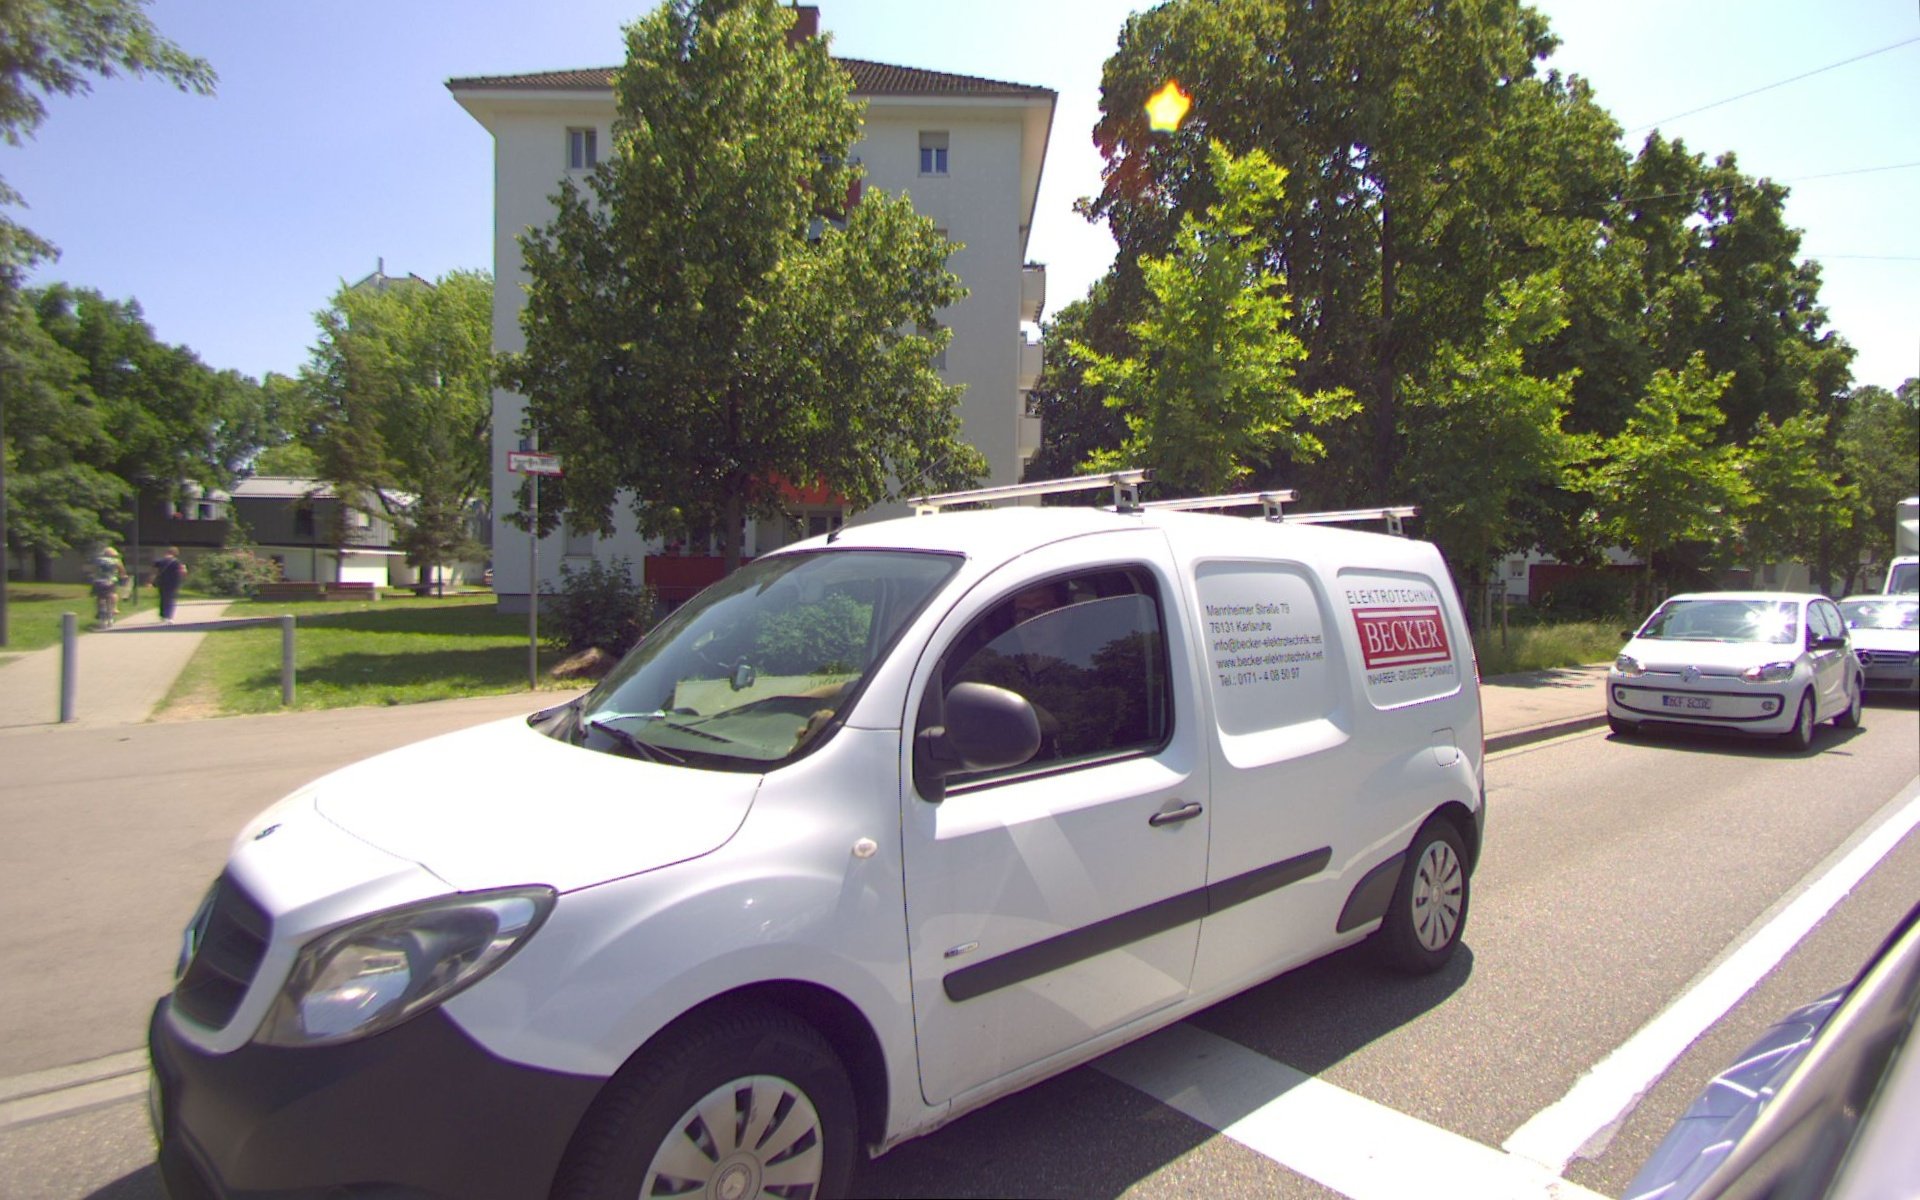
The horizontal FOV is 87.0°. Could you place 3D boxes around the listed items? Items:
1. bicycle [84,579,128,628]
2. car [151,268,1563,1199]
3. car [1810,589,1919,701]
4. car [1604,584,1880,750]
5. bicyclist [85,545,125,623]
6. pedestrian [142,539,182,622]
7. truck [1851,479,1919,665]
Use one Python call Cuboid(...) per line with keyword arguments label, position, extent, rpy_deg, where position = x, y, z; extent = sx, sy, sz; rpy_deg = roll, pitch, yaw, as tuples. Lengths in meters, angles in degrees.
Cuboid(label="bicycle", position=(-18.747, 0.066, 22.229), extent=(0.664, 1.057, 1.121), rpy_deg=(0, 0, -37))
Cuboid(label="car", position=(0.269, 0.470, 3.685), extent=(4.993, 1.879, 1.808), rpy_deg=(0, 0, -40))
Cuboid(label="car", position=(13.388, 0.539, 14.133), extent=(4.041, 1.398, 1.618), rpy_deg=(-1, 0, -39))
Cuboid(label="car", position=(8.300, 0.571, 10.658), extent=(3.437, 1.459, 1.625), rpy_deg=(0, 0, -40))
Cuboid(label="bicyclist", position=(-18.808, -0.351, 22.269), extent=(0.640, 1.680, 0.613), rpy_deg=(0, 0, -37))
Cuboid(label="pedestrian", position=(-19.136, -0.464, 24.266), extent=(0.742, 1.942, 0.888), rpy_deg=(0, 0, -40))
Cuboid(label="truck", position=(20.009, -0.520, 19.983), extent=(6.485, 3.337, 2.490), rpy_deg=(0, 1, -39))
